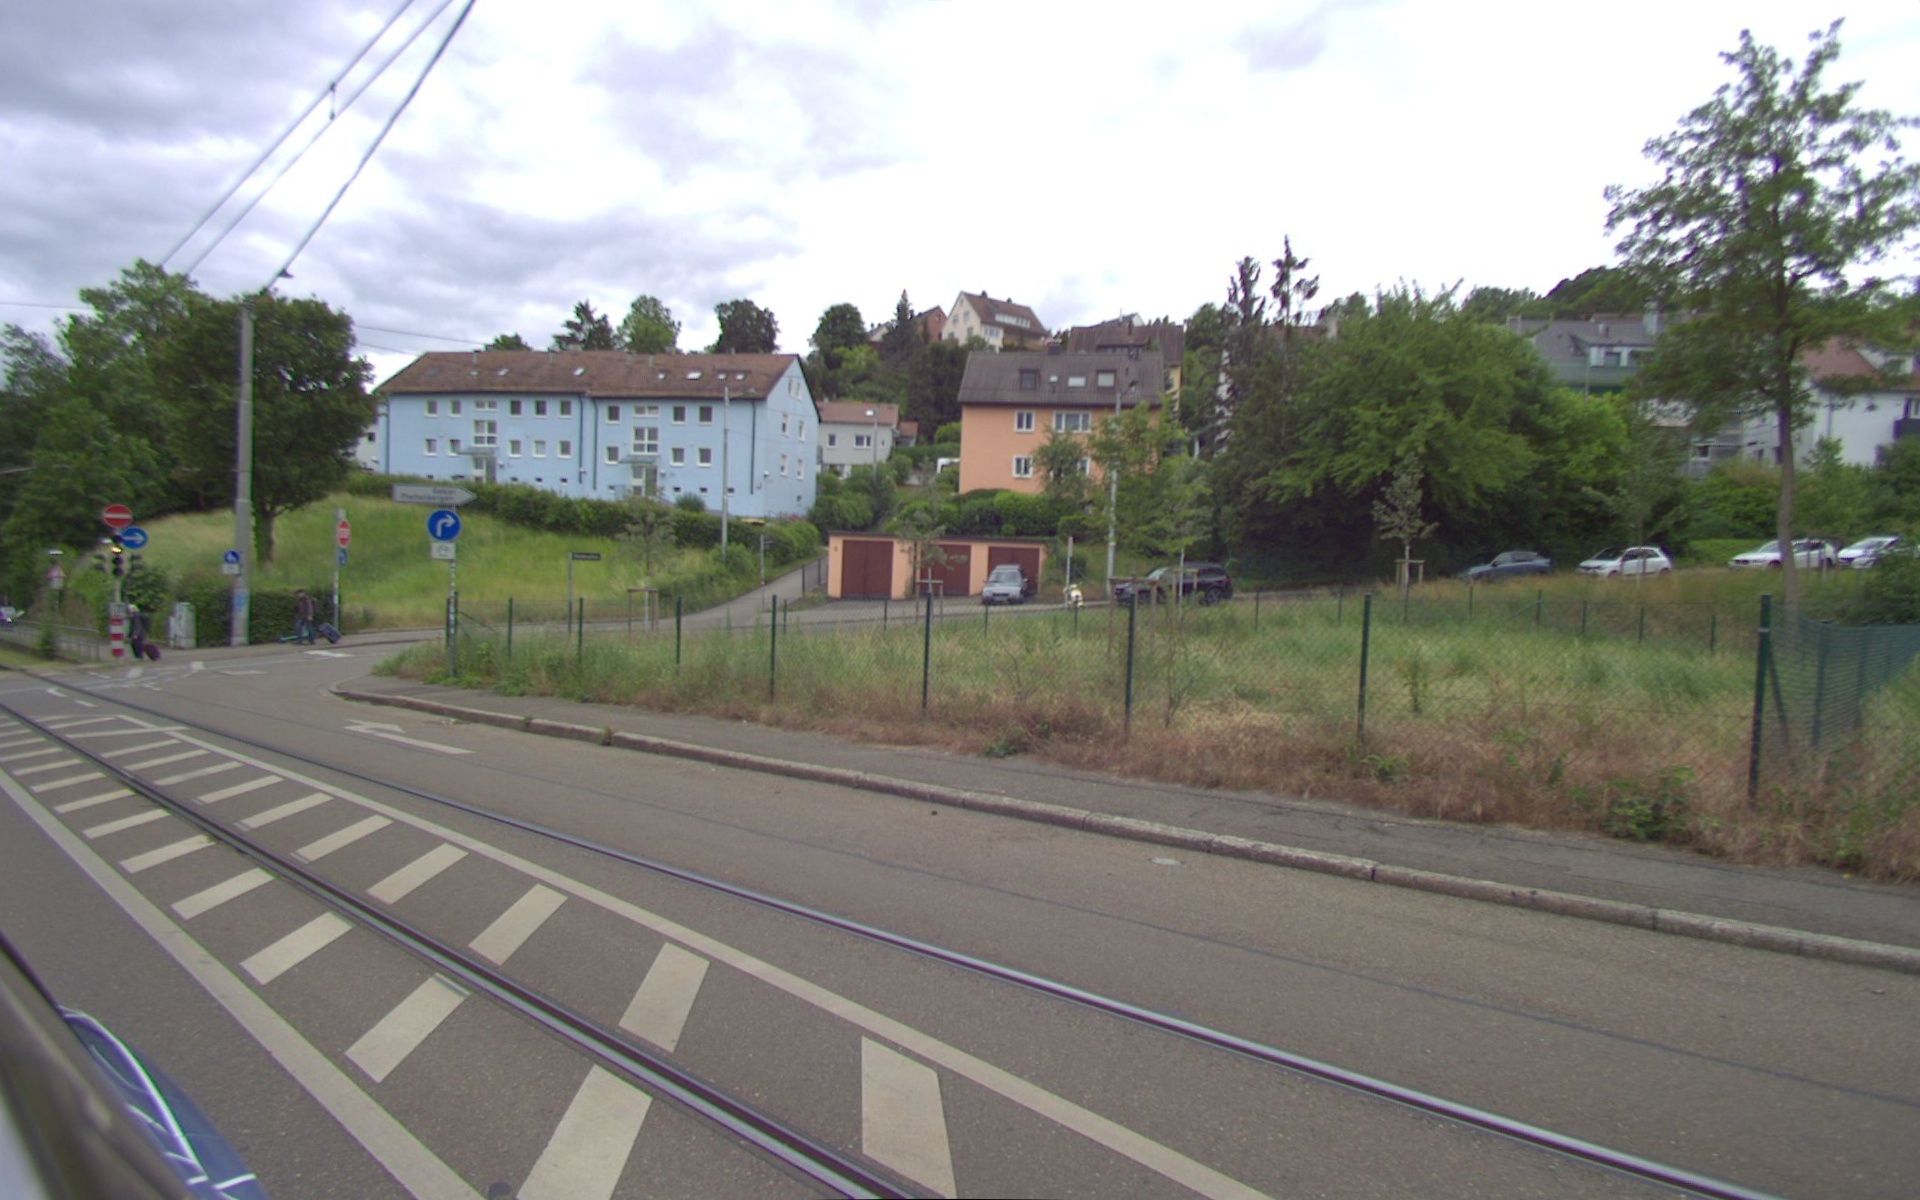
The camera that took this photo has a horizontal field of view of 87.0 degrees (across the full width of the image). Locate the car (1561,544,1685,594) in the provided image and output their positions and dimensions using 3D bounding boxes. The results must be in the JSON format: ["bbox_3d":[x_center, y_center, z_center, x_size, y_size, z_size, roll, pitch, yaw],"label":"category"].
[{"bbox_3d":[27.722,-1.294,42.365,4.065,2.029,1.987,0,1,-10],"label":"car"}]

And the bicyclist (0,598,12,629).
[{"bbox_3d":[-51.350,0.716,54.231,1.033,1.641,0.696,-2,0,44],"label":"bicyclist"}]

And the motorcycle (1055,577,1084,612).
[{"bbox_3d":[4.093,-0.222,37.791,0.513,1.165,1.710,0,5,-13],"label":"motorcycle"}]

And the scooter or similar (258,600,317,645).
[{"bbox_3d":[-21.282,0.691,32.045,0.418,1.298,1.394,0,5,41],"label":"scooter or similar"}]

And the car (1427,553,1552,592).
[{"bbox_3d":[21.336,-1.118,40.847,4.065,1.523,1.986,0,1,-9],"label":"car"}]

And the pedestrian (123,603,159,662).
[{"bbox_3d":[-22.869,0.887,28.252,0.742,1.586,0.758,-1,1,-42],"label":"pedestrian"}]

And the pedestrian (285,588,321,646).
[{"bbox_3d":[-20.270,0.502,31.229,0.887,1.763,0.744,-1,1,-35],"label":"pedestrian"}]

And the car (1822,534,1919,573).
[{"bbox_3d":[40.759,-2.038,44.726,4.065,1.670,1.841,0,1,-9],"label":"car"}]

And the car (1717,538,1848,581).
[{"bbox_3d":[35.536,-1.735,43.768,4.412,1.802,1.906,0,1,-9],"label":"car"}]

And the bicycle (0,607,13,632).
[{"bbox_3d":[-50.982,1.043,53.878,0.742,1.249,2.868,-2,0,-45],"label":"bicycle"}]

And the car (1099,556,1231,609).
[{"bbox_3d":[7.709,-0.676,38.232,4.378,1.702,1.982,-4,2,-11],"label":"car"}]

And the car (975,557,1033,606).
[{"bbox_3d":[1.902,-0.825,42.345,1.977,1.624,4.870,0,6,8],"label":"car"}]
